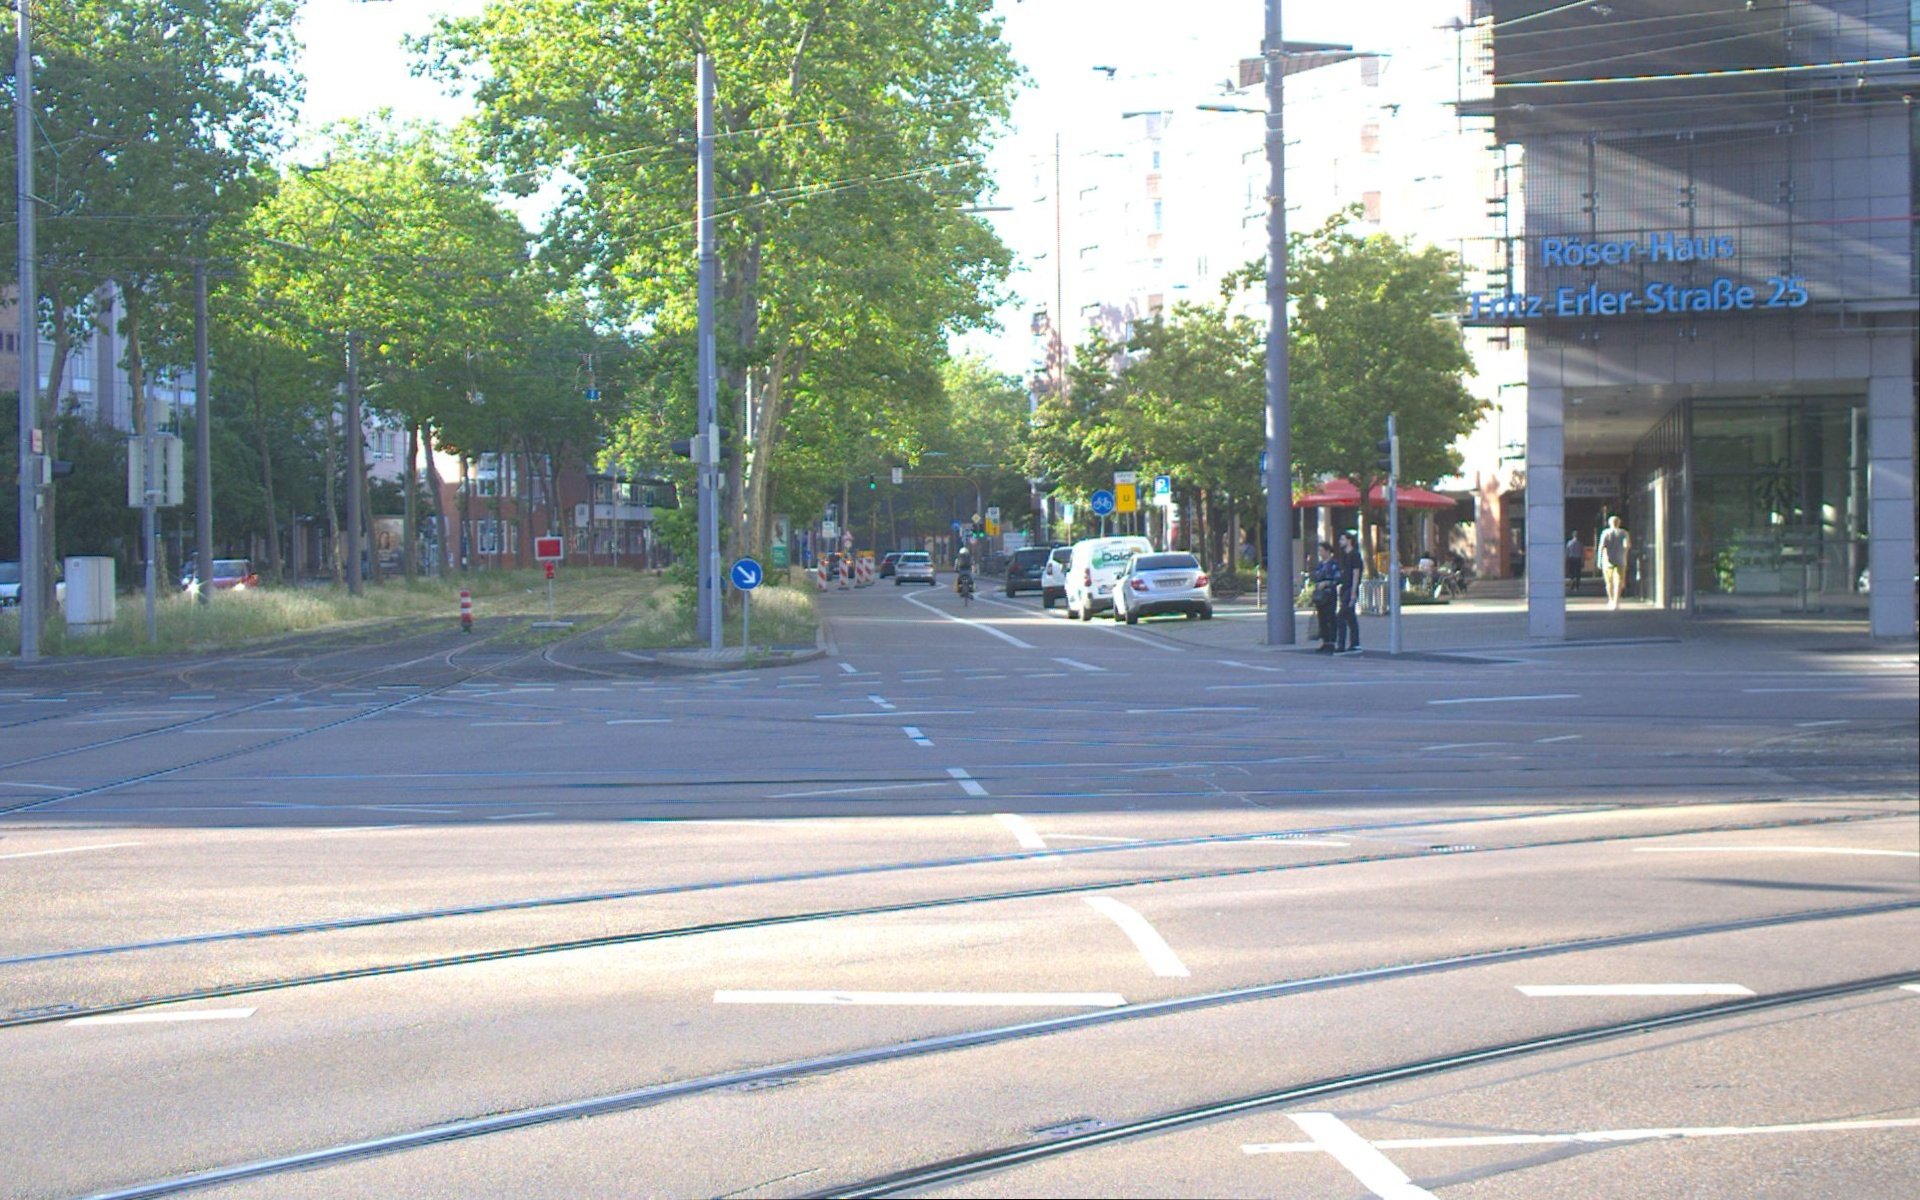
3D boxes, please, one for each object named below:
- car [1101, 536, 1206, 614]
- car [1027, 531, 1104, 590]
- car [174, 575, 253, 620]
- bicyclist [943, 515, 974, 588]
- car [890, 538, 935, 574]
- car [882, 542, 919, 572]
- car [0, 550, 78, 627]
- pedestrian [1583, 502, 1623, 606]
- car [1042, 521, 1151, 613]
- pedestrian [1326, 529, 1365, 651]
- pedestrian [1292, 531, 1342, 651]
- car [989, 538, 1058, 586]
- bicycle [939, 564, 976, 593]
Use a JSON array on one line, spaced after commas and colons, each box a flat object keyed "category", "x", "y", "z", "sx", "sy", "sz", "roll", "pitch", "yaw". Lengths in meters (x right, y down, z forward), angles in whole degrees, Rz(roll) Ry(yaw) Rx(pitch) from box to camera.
[{"category": "car", "x": 3.992, "y": -0.530, "z": 71.480, "sx": 1.853, "sy": 1.546, "sz": 4.326, "roll": -1, "pitch": 1, "yaw": -1}, {"category": "car", "x": 2.854, "y": -1.083, "z": 93.702, "sx": 1.853, "sy": 1.546, "sz": 4.326, "roll": -1, "pitch": 1, "yaw": -1}, {"category": "car", "x": -21.536, "y": -0.082, "z": 99.114, "sx": 1.841, "sy": 1.218, "sz": 4.001, "roll": -1, "pitch": 1, "yaw": -18}, {"category": "bicyclist", "x": -0.039, "y": -1.349, "z": 95.471, "sx": 0.752, "sy": 2.007, "sz": 0.743, "roll": 0, "pitch": 1, "yaw": 6}, {"category": "car", "x": -2.071, "y": -1.936, "z": 150.435, "sx": 1.853, "sy": 1.546, "sz": 4.325, "roll": -1, "pitch": 1, "yaw": 1}, {"category": "car", "x": -3.174, "y": -2.325, "z": 184.418, "sx": 1.853, "sy": 1.546, "sz": 4.325, "roll": -1, "pitch": 1, "yaw": 1}, {"category": "car", "x": -19.943, "y": -0.254, "z": 72.171, "sx": 1.853, "sy": 1.546, "sz": 4.326, "roll": -1, "pitch": 1, "yaw": -2}, {"category": "pedestrian", "x": 12.533, "y": -0.895, "z": 67.038, "sx": 0.673, "sy": 2.007, "sz": 0.515, "roll": -1, "pitch": 1, "yaw": 1}, {"category": "car", "x": 3.072, "y": -0.758, "z": 78.238, "sx": 1.993, "sy": 2.007, "sz": 4.386, "roll": -1, "pitch": 1, "yaw": -4}, {"category": "pedestrian", "x": 5.821, "y": -0.153, "z": 51.944, "sx": 0.373, "sy": 1.817, "sz": 0.547, "roll": -1, "pitch": 1, "yaw": -18}, {"category": "pedestrian", "x": 5.475, "y": -0.146, "z": 52.705, "sx": 0.542, "sy": 1.817, "sz": 0.589, "roll": -1, "pitch": 1, "yaw": -18}, {"category": "car", "x": 2.135, "y": -1.276, "z": 115.353, "sx": 2.262, "sy": 1.546, "sz": 4.325, "roll": -1, "pitch": 1, "yaw": 1}, {"category": "bicycle", "x": -0.065, "y": -0.606, "z": 95.439, "sx": 0.818, "sy": 0.771, "sz": 1.729, "roll": -1, "pitch": 1, "yaw": 6}]
